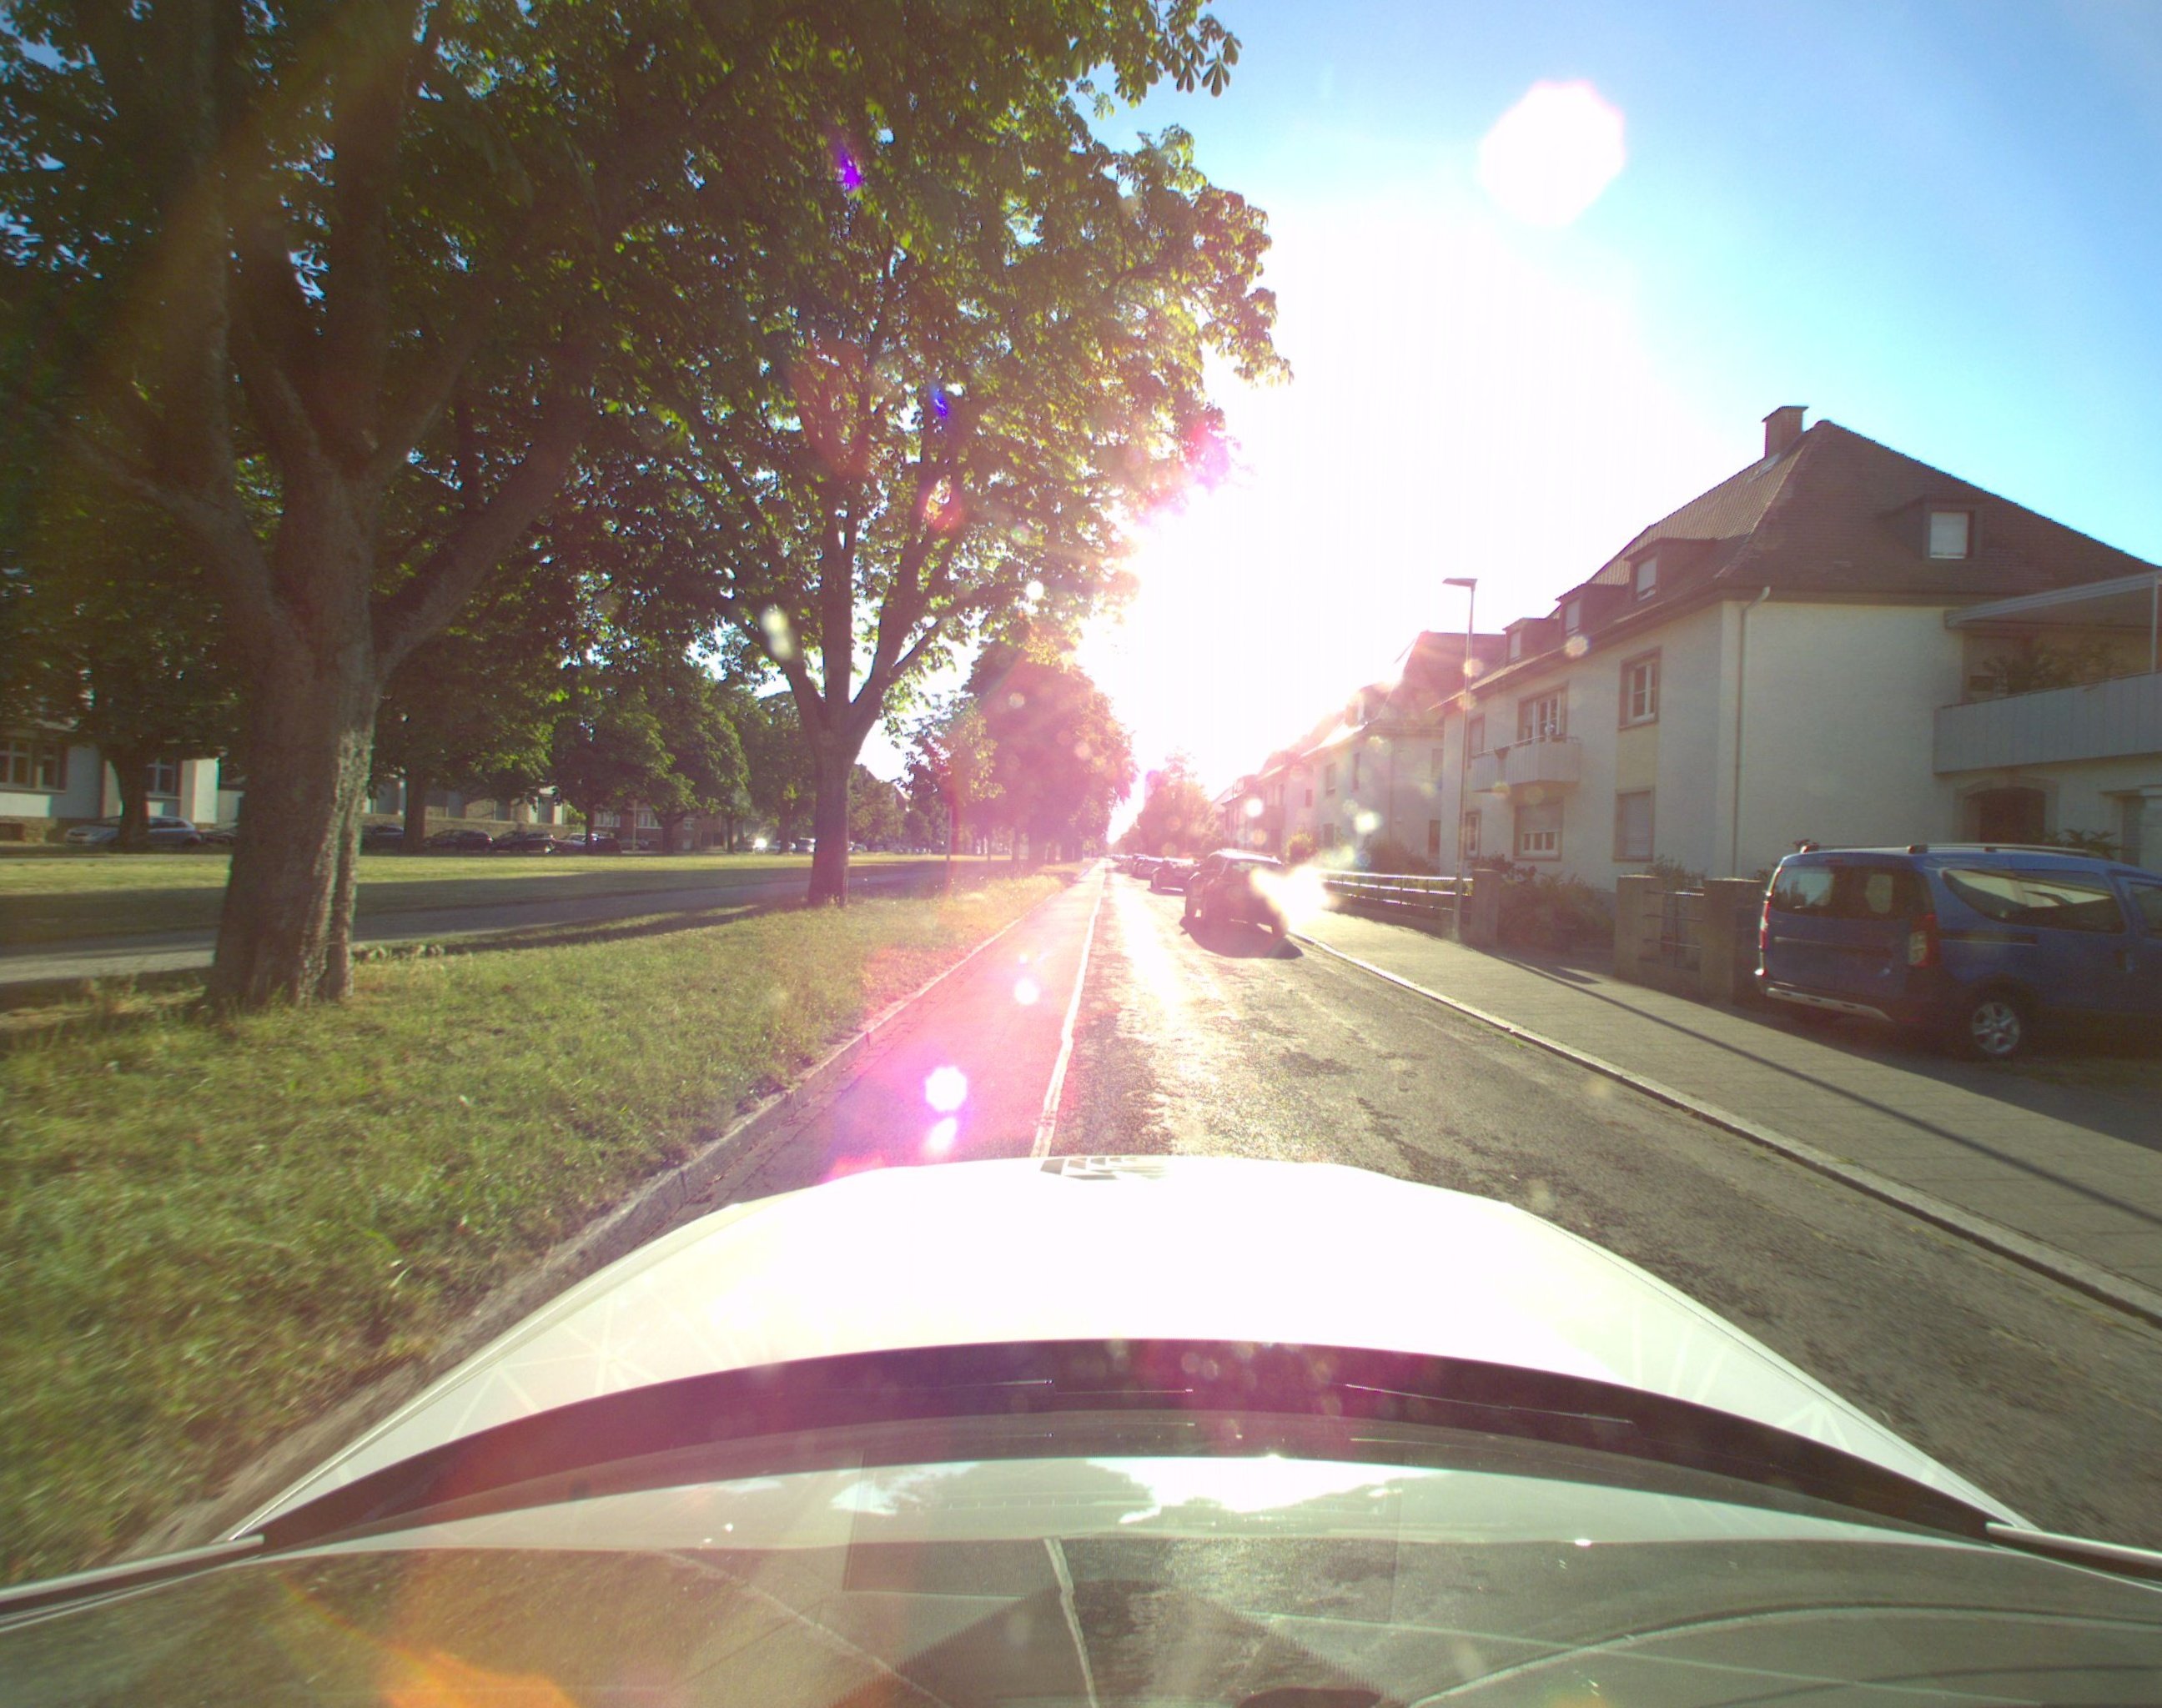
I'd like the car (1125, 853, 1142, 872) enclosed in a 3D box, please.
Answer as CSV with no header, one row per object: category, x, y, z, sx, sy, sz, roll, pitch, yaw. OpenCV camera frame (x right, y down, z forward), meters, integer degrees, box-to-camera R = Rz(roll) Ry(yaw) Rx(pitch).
car,6.133,1.010,95.408,1.685,2.013,3.626,4,-1,2

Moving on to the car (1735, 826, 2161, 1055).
car,8.736,0.746,7.582,3.978,1.822,1.758,2,0,-3

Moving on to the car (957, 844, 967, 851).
car,-33.645,-1.764,230.249,1.986,2.013,4.001,3,0,1

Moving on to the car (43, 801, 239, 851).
car,-38.584,-1.083,33.687,1.987,1.689,5.157,4,-1,0

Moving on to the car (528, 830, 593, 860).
car,-37.775,-0.617,59.218,1.987,2.013,3.999,4,-1,0

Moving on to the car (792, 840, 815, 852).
car,-36.140,-1.024,106.040,1.677,1.342,3.472,4,-1,1

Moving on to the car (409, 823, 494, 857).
car,-37.846,-0.797,49.066,1.858,1.803,3.917,4,-1,2

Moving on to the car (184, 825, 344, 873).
car,-32.789,-0.181,32.894,1.872,1.674,4.317,4,-1,2

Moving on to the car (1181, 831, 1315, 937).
car,3.614,0.599,18.510,1.987,1.903,4.390,7,0,1

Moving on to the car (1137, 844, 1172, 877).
car,5.061,0.462,56.298,1.987,2.013,4.000,4,-1,1

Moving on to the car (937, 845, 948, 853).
car,-32.617,-1.120,192.008,1.872,1.752,3.798,4,-1,1

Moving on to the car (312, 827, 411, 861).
car,-38.022,-0.506,43.162,1.752,1.583,3.792,4,1,1

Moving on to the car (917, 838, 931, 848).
car,-34.068,-2.444,176.644,1.986,1.913,4.001,4,-1,1

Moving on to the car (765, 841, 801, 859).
car,-30.610,-0.428,83.858,2.015,1.659,3.986,4,-1,2

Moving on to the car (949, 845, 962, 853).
car,-27.168,-1.071,176.478,1.986,1.734,4.001,3,0,1

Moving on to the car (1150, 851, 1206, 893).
car,4.222,0.770,35.925,1.987,1.653,4.000,3,-1,1

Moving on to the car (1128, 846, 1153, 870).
car,5.541,0.390,75.990,1.987,2.013,4.000,4,-1,1

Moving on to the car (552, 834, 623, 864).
car,-32.112,-0.276,53.123,1.804,1.781,4.124,4,-1,2

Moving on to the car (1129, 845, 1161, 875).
car,4.831,0.473,61.876,1.987,2.013,4.000,4,-1,1

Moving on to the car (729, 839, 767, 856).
car,-36.396,-0.712,89.094,1.985,1.659,4.358,4,-1,3

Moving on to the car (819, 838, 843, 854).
car,-31.708,-1.006,103.455,1.722,1.689,3.877,4,-2,0

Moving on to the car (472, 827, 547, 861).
car,-37.950,-0.650,54.169,1.987,2.013,3.999,4,-1,0

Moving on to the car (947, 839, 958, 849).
car,-26.835,-2.119,170.072,1.648,1.938,3.567,4,-2,1
